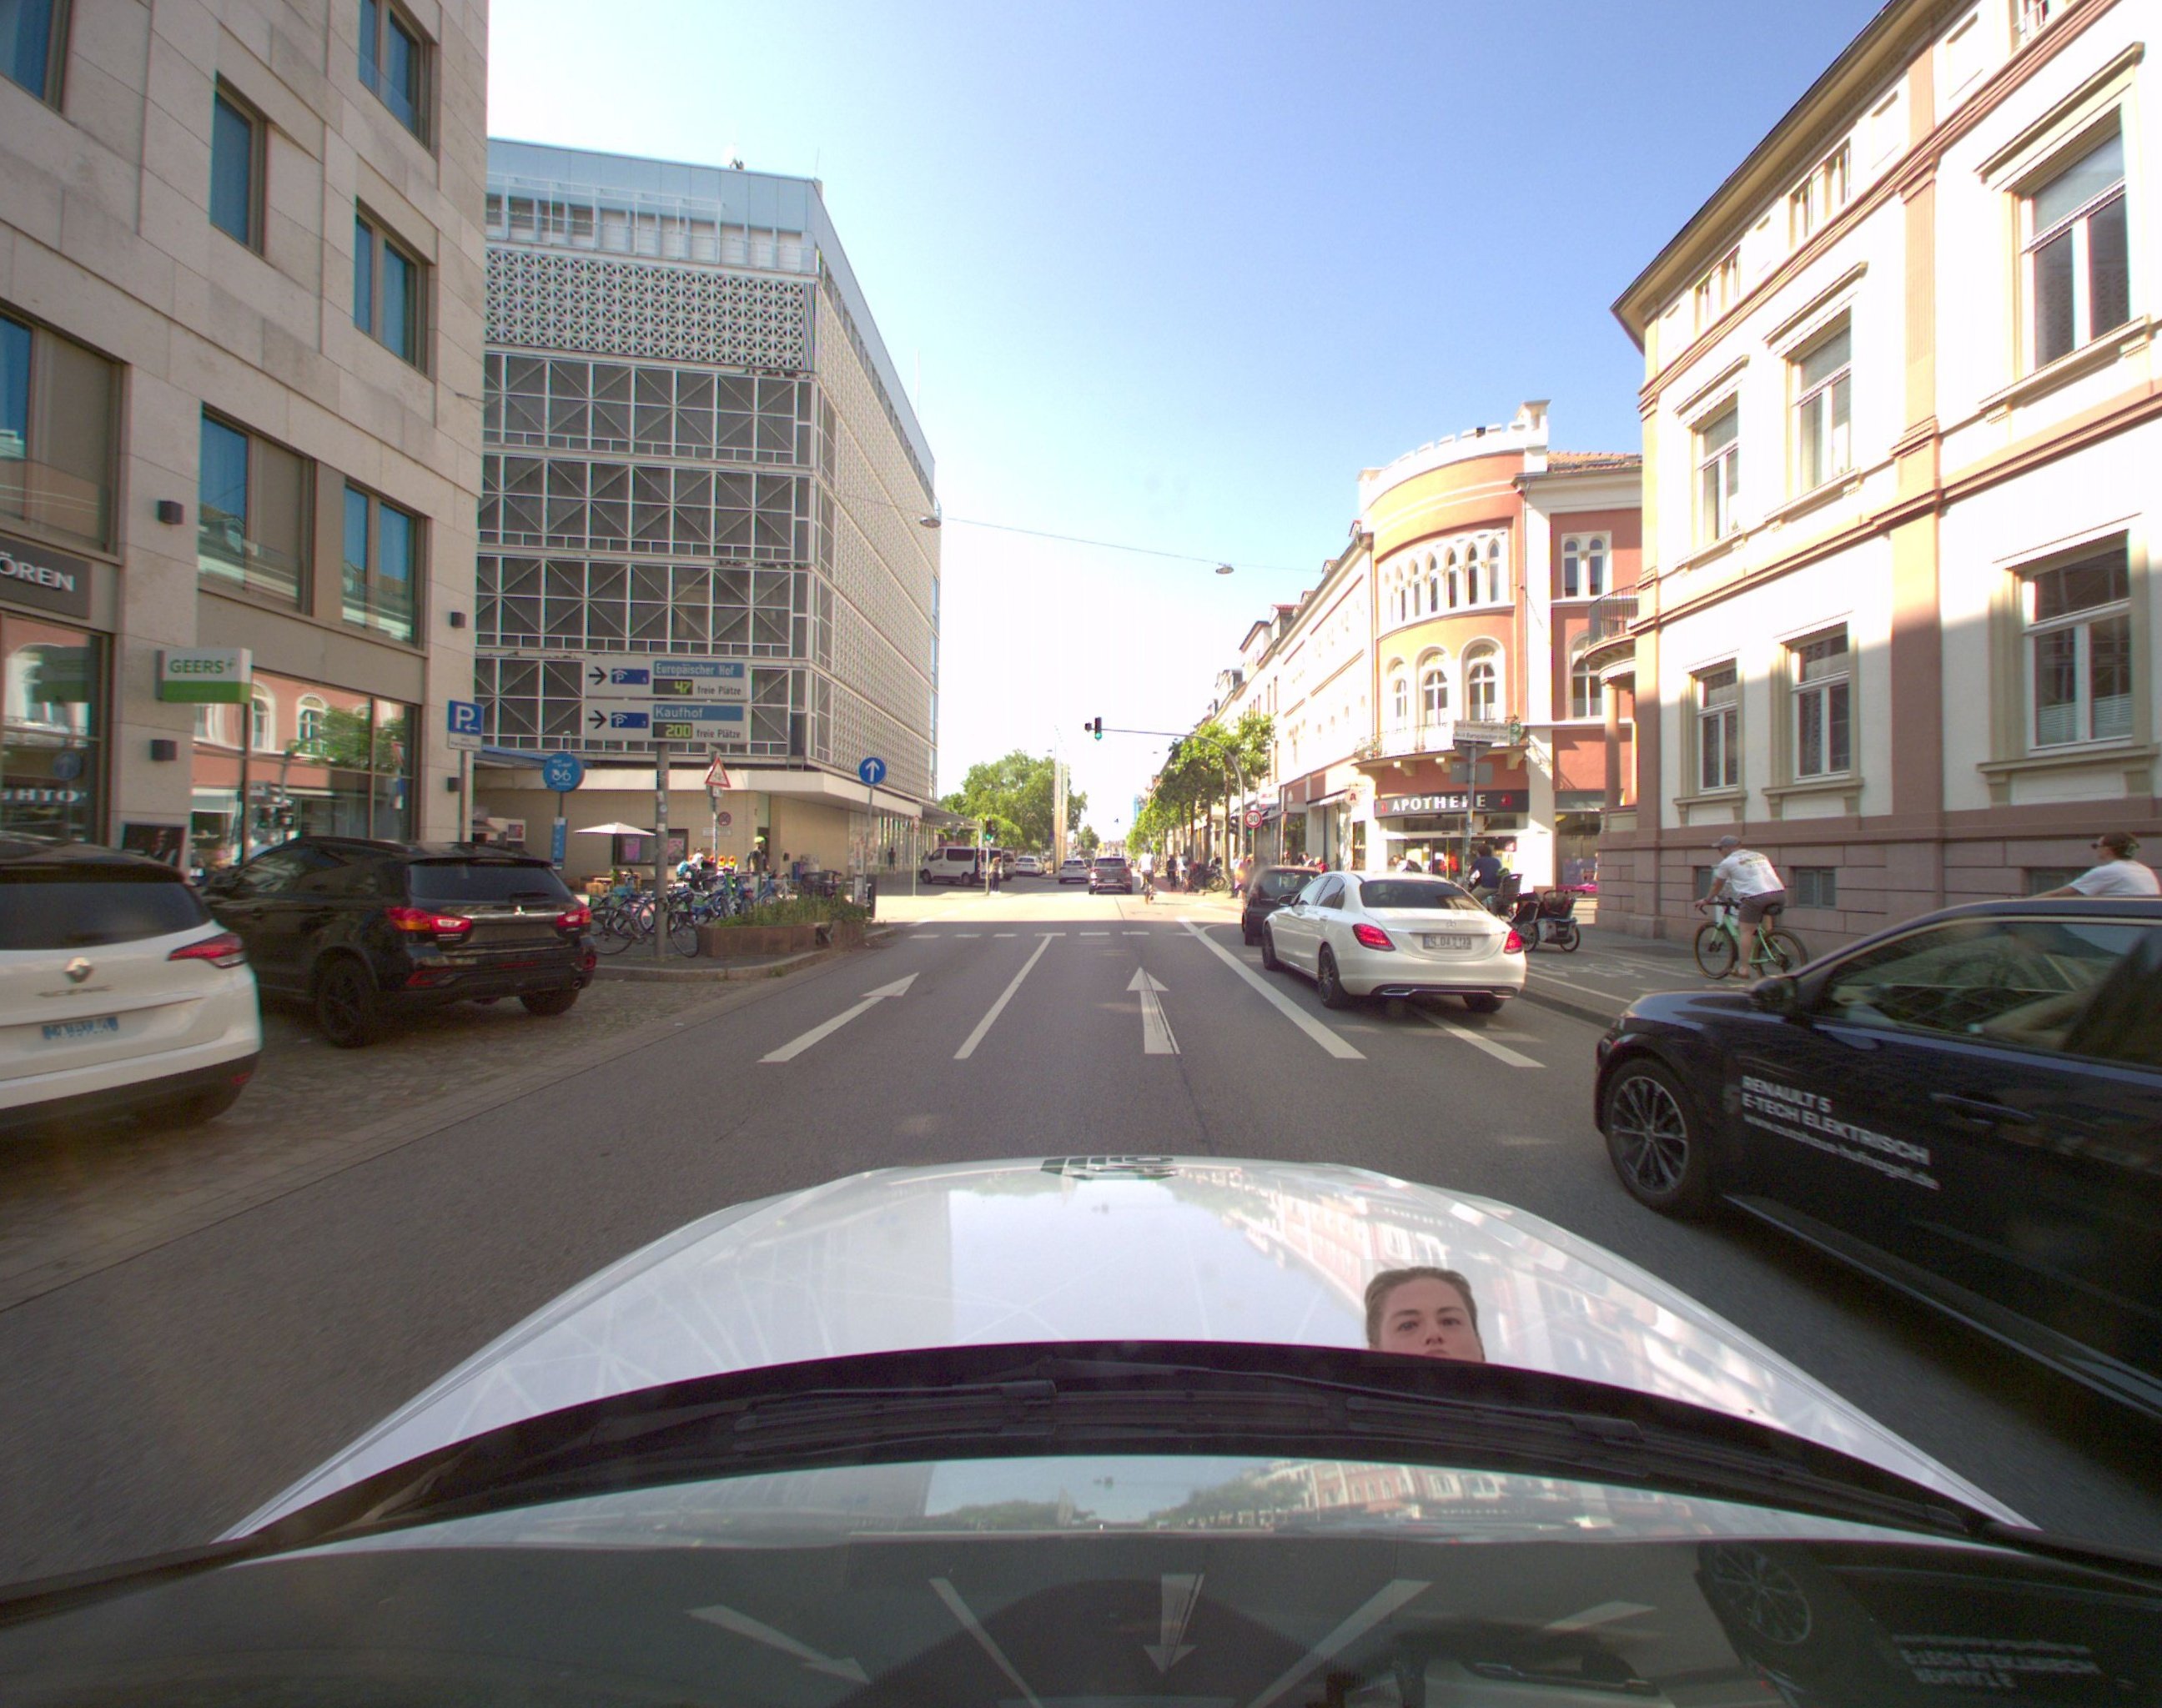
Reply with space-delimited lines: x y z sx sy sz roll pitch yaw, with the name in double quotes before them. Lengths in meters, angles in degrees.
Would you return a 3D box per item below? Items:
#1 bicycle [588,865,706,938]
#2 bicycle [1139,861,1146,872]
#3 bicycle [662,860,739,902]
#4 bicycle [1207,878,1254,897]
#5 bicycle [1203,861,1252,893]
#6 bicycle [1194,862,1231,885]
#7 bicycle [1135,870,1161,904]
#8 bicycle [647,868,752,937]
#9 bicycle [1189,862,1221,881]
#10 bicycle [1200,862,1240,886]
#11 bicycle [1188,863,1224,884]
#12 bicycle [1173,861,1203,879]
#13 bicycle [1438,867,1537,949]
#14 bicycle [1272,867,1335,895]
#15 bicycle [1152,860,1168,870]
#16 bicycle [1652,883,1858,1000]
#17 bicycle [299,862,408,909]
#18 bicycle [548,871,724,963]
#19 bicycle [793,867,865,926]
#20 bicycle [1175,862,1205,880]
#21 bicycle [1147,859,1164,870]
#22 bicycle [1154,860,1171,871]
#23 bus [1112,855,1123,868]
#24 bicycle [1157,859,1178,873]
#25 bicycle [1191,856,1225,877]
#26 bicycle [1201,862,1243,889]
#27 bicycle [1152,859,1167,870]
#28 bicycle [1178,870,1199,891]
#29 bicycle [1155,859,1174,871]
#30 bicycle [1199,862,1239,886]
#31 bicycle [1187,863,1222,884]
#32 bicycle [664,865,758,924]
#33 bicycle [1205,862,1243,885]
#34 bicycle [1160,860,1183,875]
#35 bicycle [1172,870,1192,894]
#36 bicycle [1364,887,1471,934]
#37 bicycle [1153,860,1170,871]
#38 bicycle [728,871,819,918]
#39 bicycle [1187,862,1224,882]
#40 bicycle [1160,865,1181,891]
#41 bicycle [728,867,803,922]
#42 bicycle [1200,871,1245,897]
"bicycle" -7.733 0.811 14.480 2.300 1.127 0.565 2 0 26
"bicycle" 6.044 1.196 79.769 0.644 0.998 2.032 0 0 2
"bicycle" -12.620 0.880 27.066 2.220 1.267 0.728 -2 1 -33
"bicycle" 6.531 1.462 35.671 1.142 0.434 1.842 -10 -5 -24
"bicycle" 6.059 0.940 33.757 1.833 1.188 0.721 4 3 40
"bicycle" 6.599 0.995 40.938 1.832 1.127 0.644 0 -1 3
"bicycle" 2.179 1.065 26.786 0.771 1.006 2.331 0 0 2
"bicycle" -7.044 0.862 15.008 2.039 1.127 0.565 2 1 26
"bicycle" 7.211 1.027 47.415 1.831 1.127 0.449 0 -2 4
"bicycle" 6.713 0.972 39.358 1.832 1.127 0.667 0 -1 3
"bicycle" 6.567 1.020 42.799 1.832 1.127 0.667 0 -1 3
"bicycle" 7.072 1.064 53.781 1.839 1.127 0.630 3 -1 -9
"bicycle" 7.203 0.910 14.563 0.729 1.268 2.284 1 1 4
"bicycle" 6.845 0.814 25.086 1.814 0.844 0.501 0 0 2
"bicycle" 8.740 1.240 90.127 1.641 1.095 0.607 1 -1 4
"bicycle" 7.829 0.959 9.612 0.570 1.127 2.074 -1 1 -6
"bicycle" -17.831 0.777 19.976 2.050 1.127 0.640 0 -4 1
"bicycle" -6.052 0.841 11.110 2.131 1.127 0.485 2 0 3
"bicycle" -5.467 0.886 17.607 0.608 1.173 2.039 3 -2 -43
"bicycle" 6.878 1.092 51.571 1.833 1.093 0.565 2 -1 2
"bicycle" 8.945 1.220 97.790 1.937 1.257 0.701 1 -1 -18
"bicycle" 8.416 1.162 84.513 1.720 1.109 0.403 1 -1 4
"bus" 10.782 2.254 241.702 2.984 3.594 11.747 1 -1 2
"bicycle" 7.993 1.125 75.084 1.830 1.186 0.671 2 -1 7
"bicycle" 6.935 0.658 44.520 1.829 1.127 0.681 1 0 9
"bicycle" 6.434 0.971 37.282 1.826 1.127 0.347 2 1 17
"bicycle" 8.797 1.196 91.650 1.641 1.201 0.475 1 -1 4
"bicycle" 4.871 1.196 36.958 0.598 0.926 2.086 2 -1 -1
"bicycle" 8.405 1.110 82.178 1.923 1.248 0.737 1 -1 4
"bicycle" 6.525 0.963 38.575 1.829 1.127 0.668 0 -1 9
"bicycle" 6.588 1.027 43.493 1.832 1.127 0.530 0 -2 3
"bicycle" -7.731 0.819 16.986 2.038 1.127 0.651 1 0 28
"bicycle" 7.075 0.984 40.318 1.832 1.127 0.667 0 -1 3
"bicycle" 7.478 1.116 67.328 1.827 1.127 0.499 2 -1 13
"bicycle" 4.192 1.158 33.809 0.628 0.980 2.089 0 -2 2
"bicycle" 8.852 1.467 21.520 2.544 1.127 0.631 1 -2 18
"bicycle" 8.459 1.213 85.345 1.720 1.109 0.478 1 -1 4
"bicycle" -7.712 1.002 20.472 1.975 1.127 0.801 0 0 8
"bicycle" 7.038 1.029 45.904 1.971 1.127 0.764 0 -2 14
"bicycle" 4.057 1.090 37.033 0.696 1.127 2.080 2 -1 -1
"bicycle" -7.042 0.875 18.112 2.038 1.169 0.609 -1 -1 38
"bicycle" 6.331 1.326 36.480 1.842 0.397 1.019 8 -35 6
